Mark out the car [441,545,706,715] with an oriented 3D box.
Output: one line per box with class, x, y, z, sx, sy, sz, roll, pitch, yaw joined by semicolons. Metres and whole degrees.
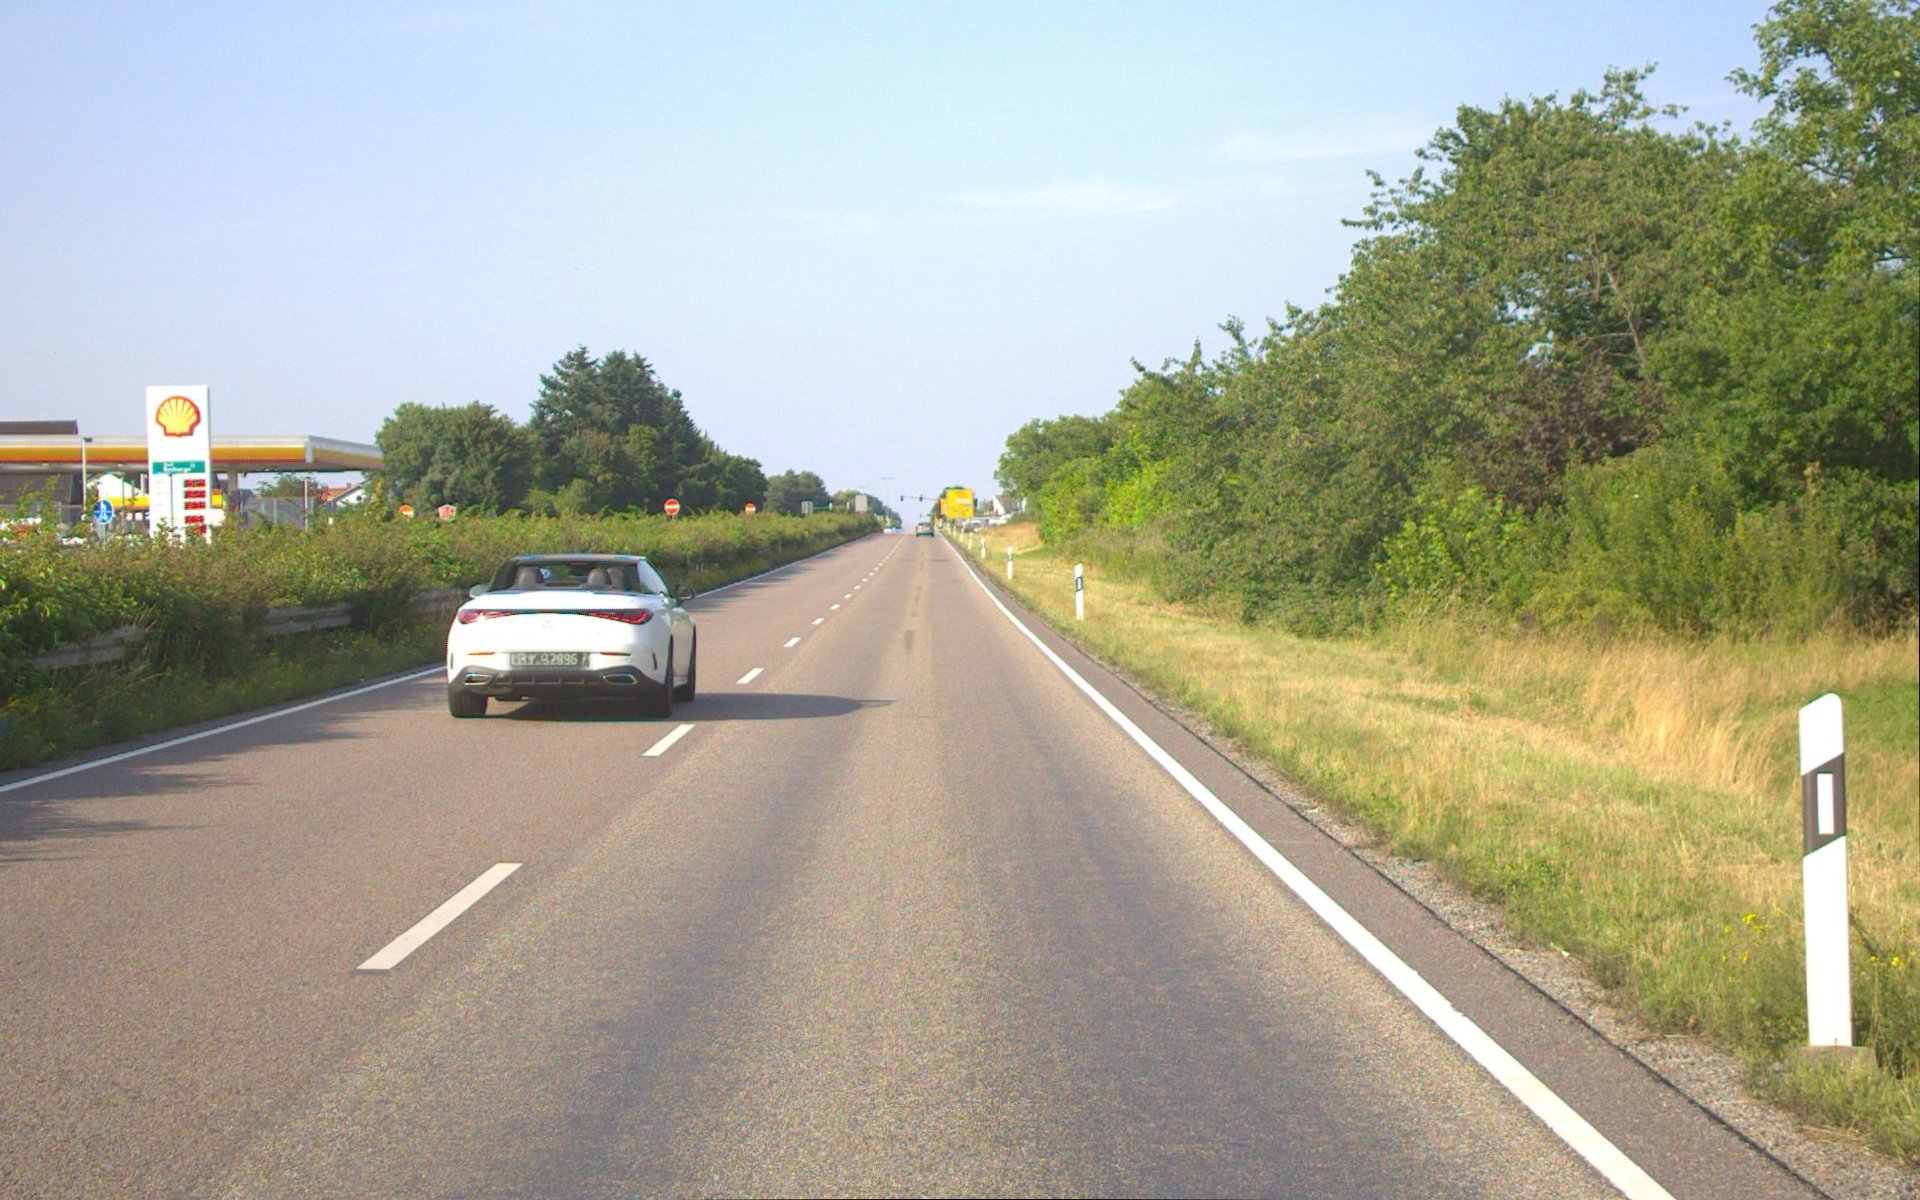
car;-3.305;0.201;30.253;1.771;1.333;4.950;1;1;0
